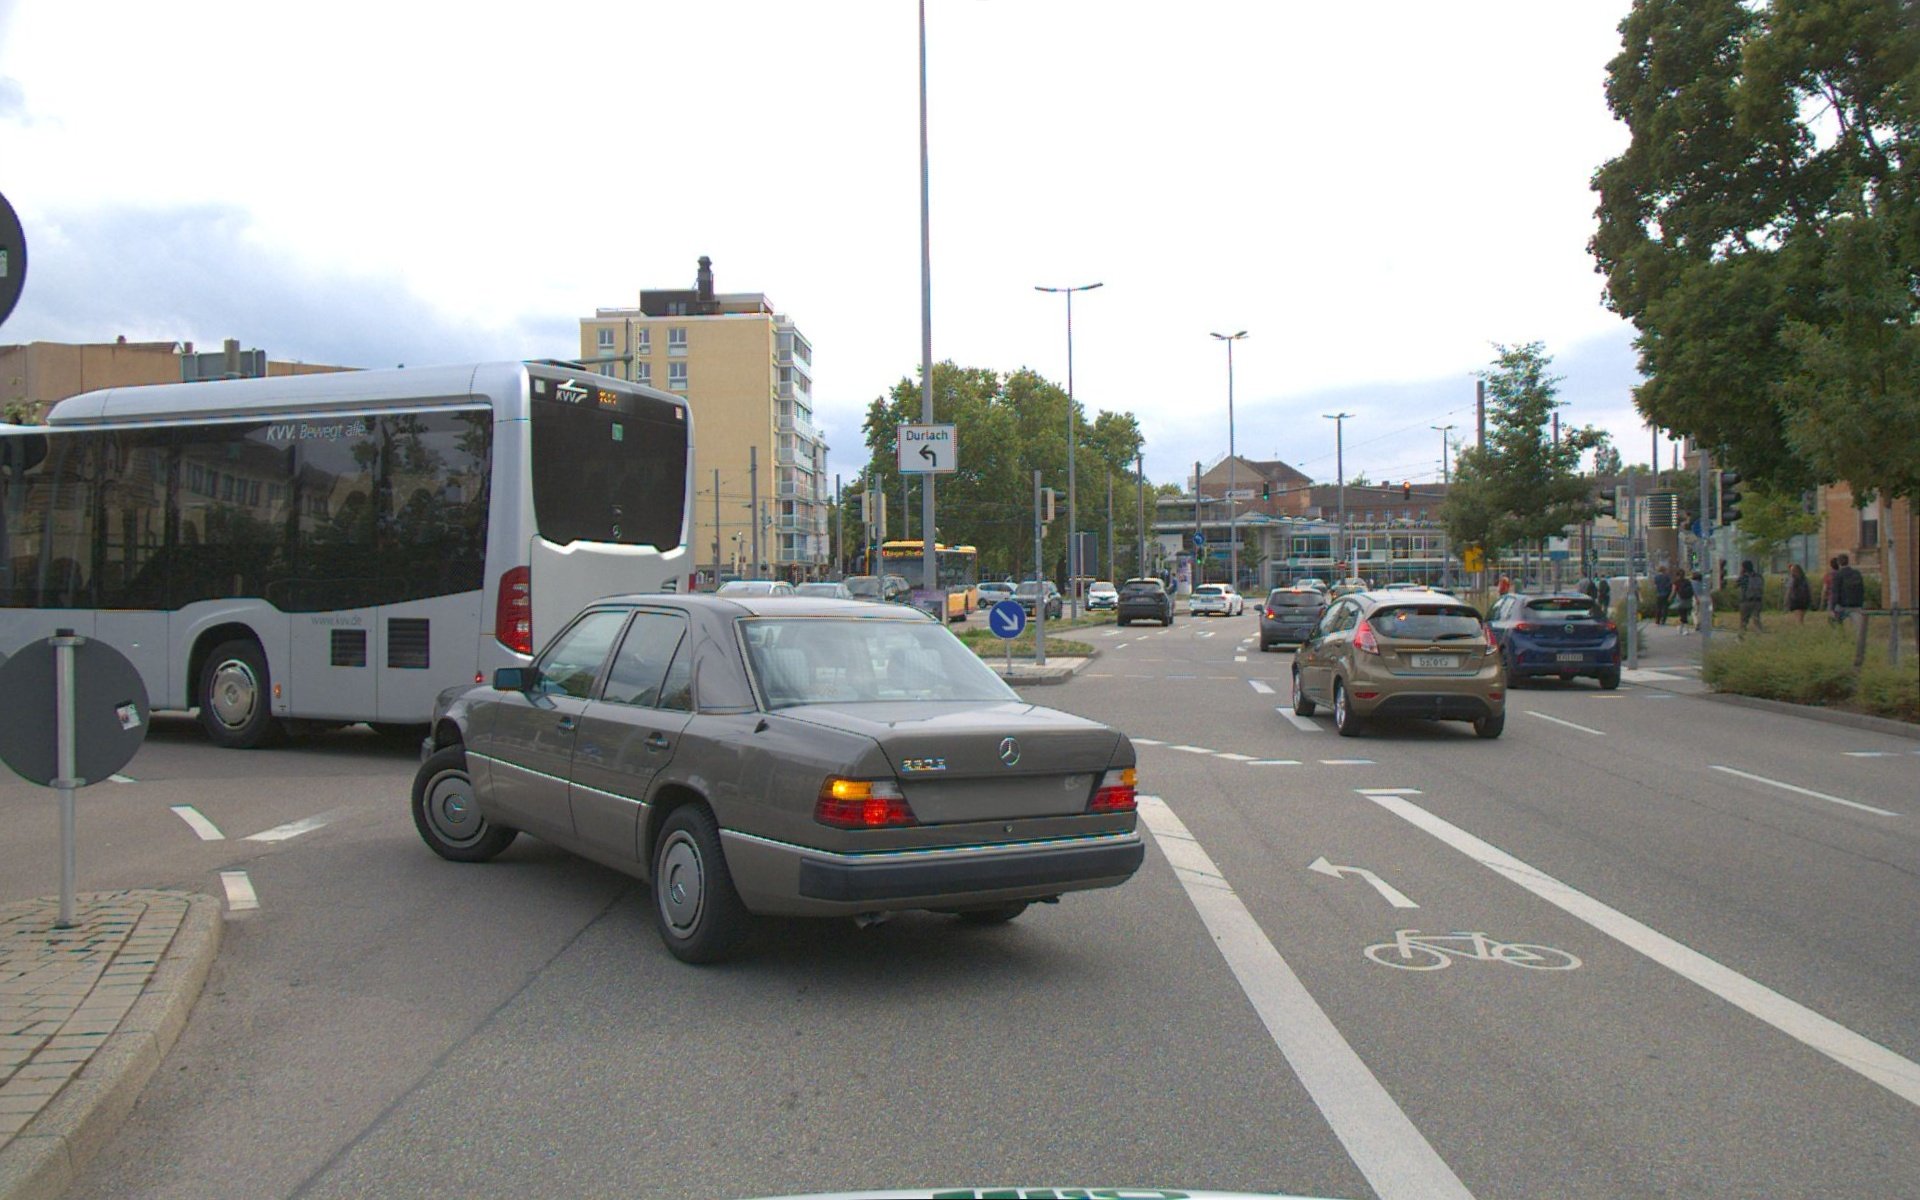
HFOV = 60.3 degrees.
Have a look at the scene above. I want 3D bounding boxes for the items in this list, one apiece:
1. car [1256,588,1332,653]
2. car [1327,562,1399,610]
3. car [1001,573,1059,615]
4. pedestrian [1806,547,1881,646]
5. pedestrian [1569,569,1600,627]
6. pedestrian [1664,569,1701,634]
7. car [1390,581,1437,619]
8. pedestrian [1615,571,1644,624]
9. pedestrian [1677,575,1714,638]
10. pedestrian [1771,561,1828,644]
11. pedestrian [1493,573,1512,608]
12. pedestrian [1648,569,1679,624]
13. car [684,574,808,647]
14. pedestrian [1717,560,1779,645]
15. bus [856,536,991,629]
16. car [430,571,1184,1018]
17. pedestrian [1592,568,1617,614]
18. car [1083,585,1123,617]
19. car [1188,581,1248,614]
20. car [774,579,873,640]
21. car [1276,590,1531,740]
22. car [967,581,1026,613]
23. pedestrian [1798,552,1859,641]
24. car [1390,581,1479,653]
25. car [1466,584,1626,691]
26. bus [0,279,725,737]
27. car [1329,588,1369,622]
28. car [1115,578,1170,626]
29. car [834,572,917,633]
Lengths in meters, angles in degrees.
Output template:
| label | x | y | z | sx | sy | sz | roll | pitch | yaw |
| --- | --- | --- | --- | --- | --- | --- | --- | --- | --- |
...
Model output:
| label | x | y | z | sx | sy | sz | roll | pitch | yaw |
| --- | --- | --- | --- | --- | --- | --- | --- | --- | --- |
| car | 8.017 | 0.476 | 39.457 | 1.674 | 1.445 | 4.003 | 1 | 0 | 13 |
| car | 12.626 | -0.424 | 51.813 | 2.087 | 1.445 | 3.703 | 1 | 0 | 14 |
| car | 2.949 | -0.254 | 69.104 | 1.951 | 1.680 | 4.516 | 1 | 0 | 8 |
| pedestrian | 15.898 | -0.056 | 29.769 | 0.762 | 1.741 | 1.027 | 1 | 0 | -3 |
| pedestrian | 17.824 | -0.056 | 47.245 | 0.762 | 1.601 | 0.812 | -2 | 0 | 20 |
| pedestrian | 18.467 | 0.031 | 42.315 | 0.762 | 1.601 | 0.812 | -2 | 0 | 20 |
| car | 17.849 | -0.008 | 65.222 | 1.667 | 1.445 | 3.703 | 1 | 0 | 14 |
| pedestrian | 20.897 | -0.083 | 51.658 | 0.762 | 1.601 | 0.812 | -2 | 0 | 20 |
| pedestrian | 19.268 | 0.158 | 43.351 | 0.762 | 1.601 | 0.812 | -2 | 0 | 20 |
| pedestrian | 17.776 | 0.054 | 35.028 | 0.762 | 1.741 | 0.812 | 1 | 0 | -3 |
| pedestrian | 25.456 | -0.456 | 77.549 | 0.762 | 1.601 | 0.812 | -2 | 0 | 20 |
| pedestrian | 20.919 | -0.104 | 49.185 | 0.762 | 1.601 | 0.812 | -2 | 0 | 20 |
| car | -5.265 | 0.247 | 41.178 | 1.951 | 1.680 | 4.294 | 1 | 0 | 8 |
| pedestrian | 16.441 | 0.043 | 34.538 | 0.762 | 1.741 | 1.027 | 1 | 0 | -3 |
| bus | -1.213 | -0.632 | 65.850 | 3.080 | 3.312 | 12.424 | 1 | 0 | 9 |
| car | -1.028 | 0.646 | 7.872 | 1.680 | 1.506 | 4.363 | 1 | 0 | -34 |
| pedestrian | 22.788 | -0.323 | 58.502 | 0.762 | 1.601 | 0.812 | -2 | 0 | 20 |
| car | 7.997 | 0.058 | 92.010 | 1.951 | 1.680 | 4.516 | 1 | 0 | 8 |
| car | 11.504 | -0.103 | 73.682 | 1.676 | 1.445 | 3.998 | 1 | 0 | 24 |
| car | -3.956 | 0.260 | 48.694 | 1.951 | 1.680 | 4.294 | 1 | 0 | 8 |
| car | 4.651 | 0.627 | 17.866 | 1.661 | 1.429 | 3.699 | 1 | 0 | -2 |
| car | 2.390 | -0.231 | 108.457 | 1.977 | 2.049 | 3.952 | 1 | 0 | -35 |
| pedestrian | 17.344 | -0.075 | 33.057 | 0.762 | 1.741 | 0.812 | 1 | 0 | -3 |
| car | 11.084 | 0.376 | 38.826 | 1.818 | 1.559 | 4.005 | 1 | 0 | 13 |
| car | 9.095 | 0.546 | 25.925 | 1.630 | 1.534 | 3.637 | 1 | 0 | 8 |
| bus | -8.970 | -0.514 | 16.973 | 13.861 | 3.498 | 2.711 | -2 | 0 | 27 |
| car | 17.375 | 0.203 | 73.827 | 1.674 | 1.445 | 4.003 | 1 | 0 | 14 |
| car | 6.585 | 0.072 | 59.447 | 1.795 | 1.643 | 3.549 | 1 | 0 | 9 |
| car | -2.749 | 0.077 | 54.778 | 1.951 | 1.932 | 4.294 | 1 | 0 | 8 |
